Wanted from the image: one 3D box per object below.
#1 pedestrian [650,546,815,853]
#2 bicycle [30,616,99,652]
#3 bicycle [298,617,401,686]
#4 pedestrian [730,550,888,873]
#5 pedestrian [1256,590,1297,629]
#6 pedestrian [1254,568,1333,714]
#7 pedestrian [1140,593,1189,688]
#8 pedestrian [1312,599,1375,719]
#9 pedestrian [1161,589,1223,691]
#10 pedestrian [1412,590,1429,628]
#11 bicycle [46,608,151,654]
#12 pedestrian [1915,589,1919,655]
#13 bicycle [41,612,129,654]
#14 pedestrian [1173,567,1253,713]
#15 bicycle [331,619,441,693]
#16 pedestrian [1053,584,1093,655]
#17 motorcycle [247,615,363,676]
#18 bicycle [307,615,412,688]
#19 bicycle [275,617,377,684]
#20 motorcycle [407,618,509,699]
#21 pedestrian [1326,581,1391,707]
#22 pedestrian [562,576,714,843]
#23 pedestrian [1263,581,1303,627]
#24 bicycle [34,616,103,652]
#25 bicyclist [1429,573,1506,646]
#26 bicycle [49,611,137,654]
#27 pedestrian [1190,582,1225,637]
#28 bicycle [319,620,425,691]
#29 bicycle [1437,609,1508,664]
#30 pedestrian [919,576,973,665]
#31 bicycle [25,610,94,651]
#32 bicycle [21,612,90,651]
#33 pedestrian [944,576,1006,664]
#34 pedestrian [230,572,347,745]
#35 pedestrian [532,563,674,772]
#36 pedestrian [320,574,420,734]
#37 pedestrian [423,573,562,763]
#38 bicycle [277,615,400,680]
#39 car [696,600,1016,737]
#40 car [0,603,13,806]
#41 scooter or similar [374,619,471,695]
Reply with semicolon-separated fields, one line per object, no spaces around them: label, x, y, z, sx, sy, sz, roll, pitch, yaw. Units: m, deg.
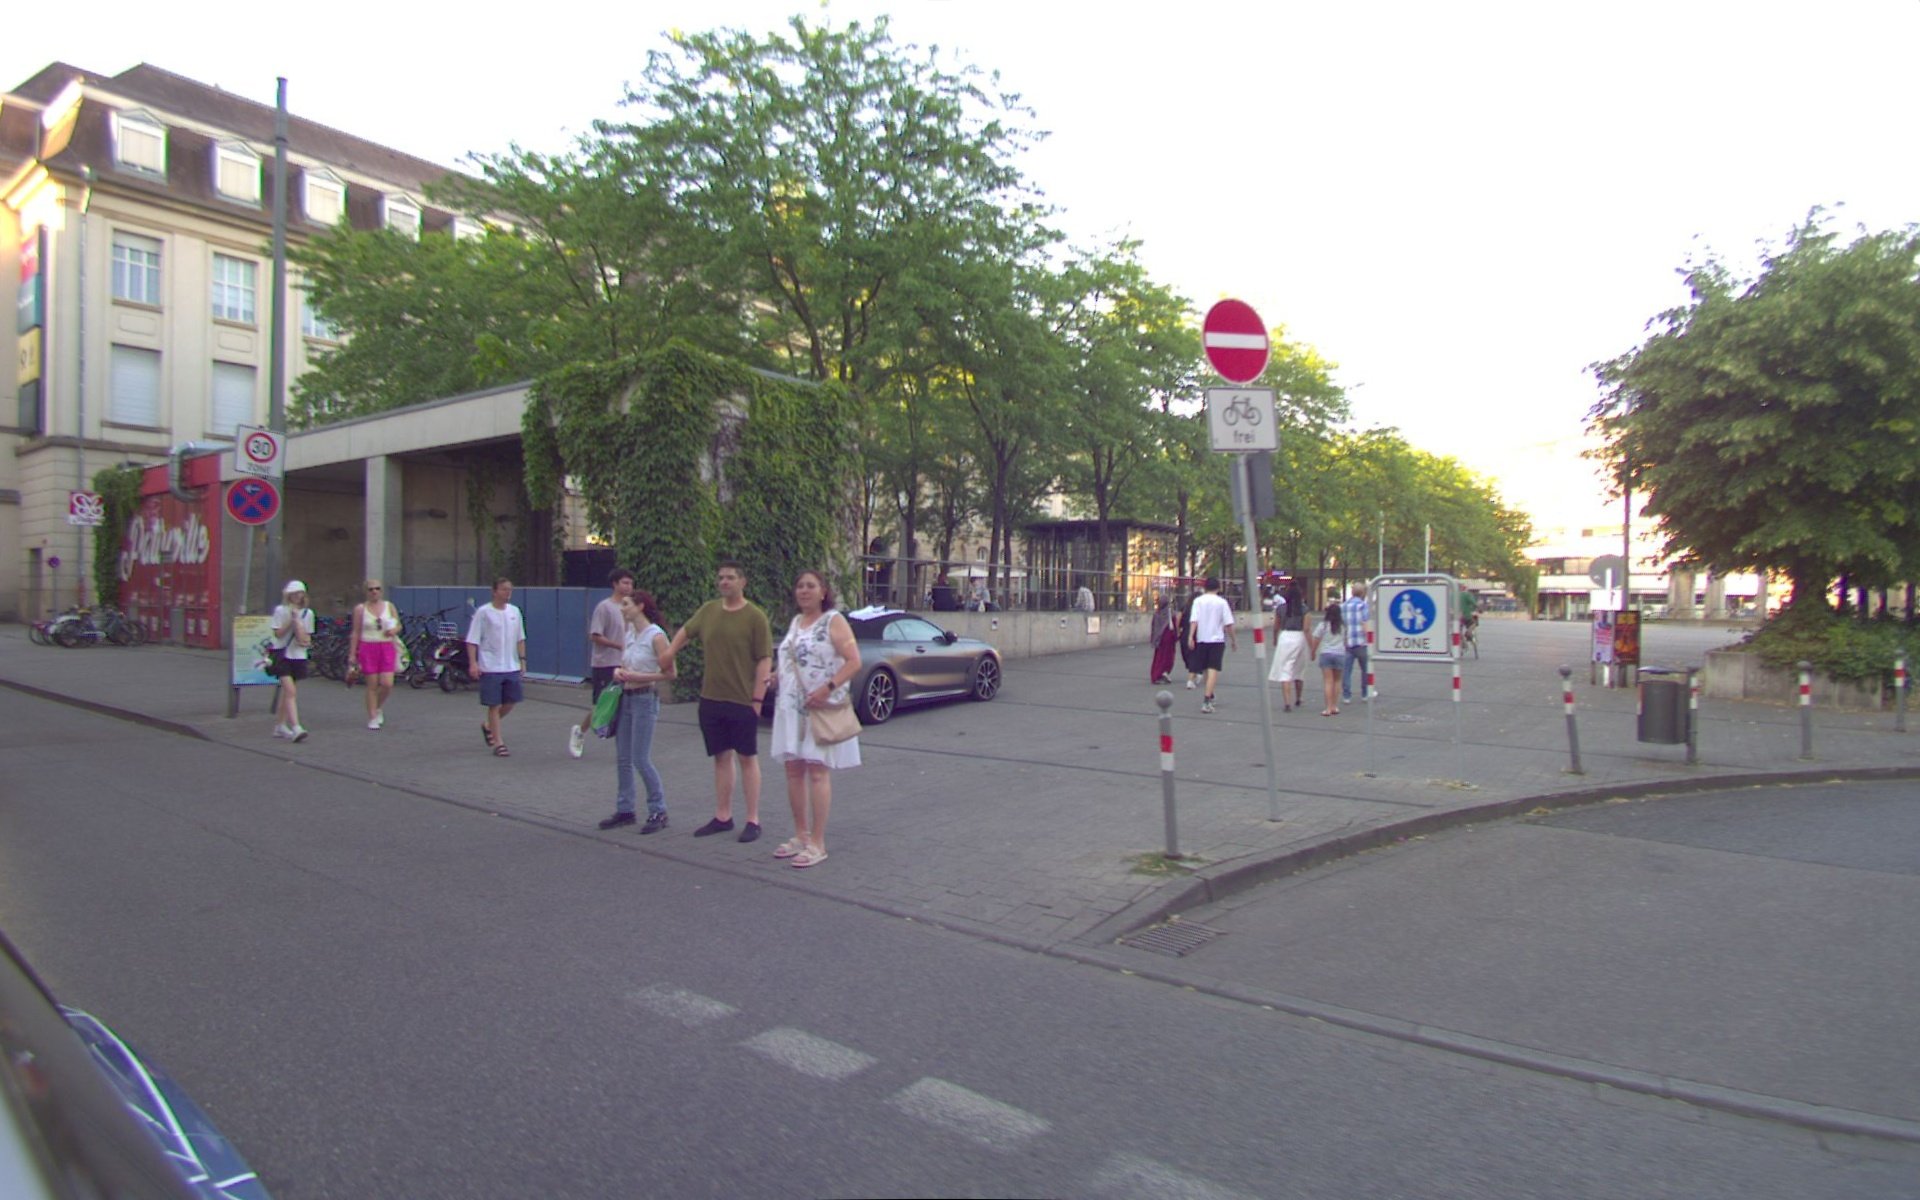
pedestrian;-1.526;0.605;6.781;0.852;1.891;0.704;0;1;42
bicycle;-26.027;0.977;29.441;0.311;0.986;1.487;0;1;28
bicycle;-10.538;0.871;17.514;0.410;1.096;1.481;0;1;33
pedestrian;-0.881;0.624;6.089;0.869;1.816;0.715;-1;1;-4
pedestrian;11.406;0.326;36.492;1.264;1.390;0.729;0;0;33
pedestrian;4.492;0.527;13.631;0.782;1.889;0.704;0;1;45
pedestrian;3.432;0.664;16.987;0.676;1.554;0.587;0;1;27
pedestrian;4.937;0.744;13.062;0.597;1.497;0.715;0;1;8
pedestrian;3.764;0.620;16.394;0.796;1.594;0.723;0;1;30
pedestrian;24.271;0.464;53.353;0.727;1.963;0.797;1;0;29
bicycle;-23.537;0.816;27.685;0.445;1.164;2.151;0;1;42
pedestrian;29.843;0.673;30.652;0.904;2.029;0.916;1;0;-6
bicycle;-24.257;0.893;28.087;0.354;1.091;1.820;0;1;42
pedestrian;3.404;0.508;13.565;0.977;1.867;0.884;0;1;19
bicycle;-9.376;0.887;16.587;0.546;1.096;1.481;0;1;33
pedestrian;2.815;0.484;25.312;0.802;1.740;0.616;0;0;36
motorcycle;-12.590;0.856;19.499;1.797;1.077;0.535;-1;1;-25
bicycle;-10.099;0.845;17.058;0.410;1.120;1.481;0;1;33
bicycle;-11.243;0.881;17.974;0.436;1.096;1.476;0;1;43
motorcycle;-7.801;0.872;15.817;0.530;1.135;1.826;0;1;6
pedestrian;5.704;0.608;14.530;0.707;1.759;0.686;0;1;8
pedestrian;-2.202;0.681;6.890;0.867;1.681;0.717;-1;1;-26
pedestrian;11.843;0.130;37.089;1.264;1.660;0.700;0;0;34
bicycle;-25.767;0.975;29.271;0.311;0.963;1.487;0;1;28
bicyclist;11.030;0.198;21.996;1.380;1.521;0.743;0;0;38
bicycle;-23.855;0.879;27.870;0.354;1.091;1.820;0;1;42
pedestrian;7.888;0.297;32.271;0.919;1.740;0.694;0;0;36
bicycle;-9.763;0.893;16.845;0.441;1.077;1.481;0;1;33
bicycle;11.228;0.765;22.116;0.951;1.110;2.298;0;0;38
pedestrian;-0.288;0.405;20.823;0.797;1.795;0.752;1;0;38
bicycle;-26.316;0.877;29.587;0.311;1.149;1.487;0;1;28
bicycle;-26.600;0.924;29.781;0.311;1.084;1.487;0;1;28
pedestrian;0.322;0.414;21.610;1.120;1.833;0.694;0;0;36
pedestrian;-7.399;0.604;11.152;0.868;1.807;0.841;0;1;39
pedestrian;-3.463;0.605;9.831;0.889;1.897;0.972;0;1;39
pedestrian;-7.003;0.604;12.016;0.736;1.807;0.802;0;1;39
pedestrian;-4.727;0.636;10.241;0.889;1.807;0.972;0;1;39
bicycle;-11.398;0.846;18.628;0.550;1.095;1.849;0;1;38
car;-1.185;0.753;13.606;2.099;1.441;4.404;0;1;30
car;-9.054;0.679;7.916;4.612;1.418;1.787;1;-1;39
scooter or similar;-8.545;0.879;16.154;0.408;1.096;1.488;0;1;19
